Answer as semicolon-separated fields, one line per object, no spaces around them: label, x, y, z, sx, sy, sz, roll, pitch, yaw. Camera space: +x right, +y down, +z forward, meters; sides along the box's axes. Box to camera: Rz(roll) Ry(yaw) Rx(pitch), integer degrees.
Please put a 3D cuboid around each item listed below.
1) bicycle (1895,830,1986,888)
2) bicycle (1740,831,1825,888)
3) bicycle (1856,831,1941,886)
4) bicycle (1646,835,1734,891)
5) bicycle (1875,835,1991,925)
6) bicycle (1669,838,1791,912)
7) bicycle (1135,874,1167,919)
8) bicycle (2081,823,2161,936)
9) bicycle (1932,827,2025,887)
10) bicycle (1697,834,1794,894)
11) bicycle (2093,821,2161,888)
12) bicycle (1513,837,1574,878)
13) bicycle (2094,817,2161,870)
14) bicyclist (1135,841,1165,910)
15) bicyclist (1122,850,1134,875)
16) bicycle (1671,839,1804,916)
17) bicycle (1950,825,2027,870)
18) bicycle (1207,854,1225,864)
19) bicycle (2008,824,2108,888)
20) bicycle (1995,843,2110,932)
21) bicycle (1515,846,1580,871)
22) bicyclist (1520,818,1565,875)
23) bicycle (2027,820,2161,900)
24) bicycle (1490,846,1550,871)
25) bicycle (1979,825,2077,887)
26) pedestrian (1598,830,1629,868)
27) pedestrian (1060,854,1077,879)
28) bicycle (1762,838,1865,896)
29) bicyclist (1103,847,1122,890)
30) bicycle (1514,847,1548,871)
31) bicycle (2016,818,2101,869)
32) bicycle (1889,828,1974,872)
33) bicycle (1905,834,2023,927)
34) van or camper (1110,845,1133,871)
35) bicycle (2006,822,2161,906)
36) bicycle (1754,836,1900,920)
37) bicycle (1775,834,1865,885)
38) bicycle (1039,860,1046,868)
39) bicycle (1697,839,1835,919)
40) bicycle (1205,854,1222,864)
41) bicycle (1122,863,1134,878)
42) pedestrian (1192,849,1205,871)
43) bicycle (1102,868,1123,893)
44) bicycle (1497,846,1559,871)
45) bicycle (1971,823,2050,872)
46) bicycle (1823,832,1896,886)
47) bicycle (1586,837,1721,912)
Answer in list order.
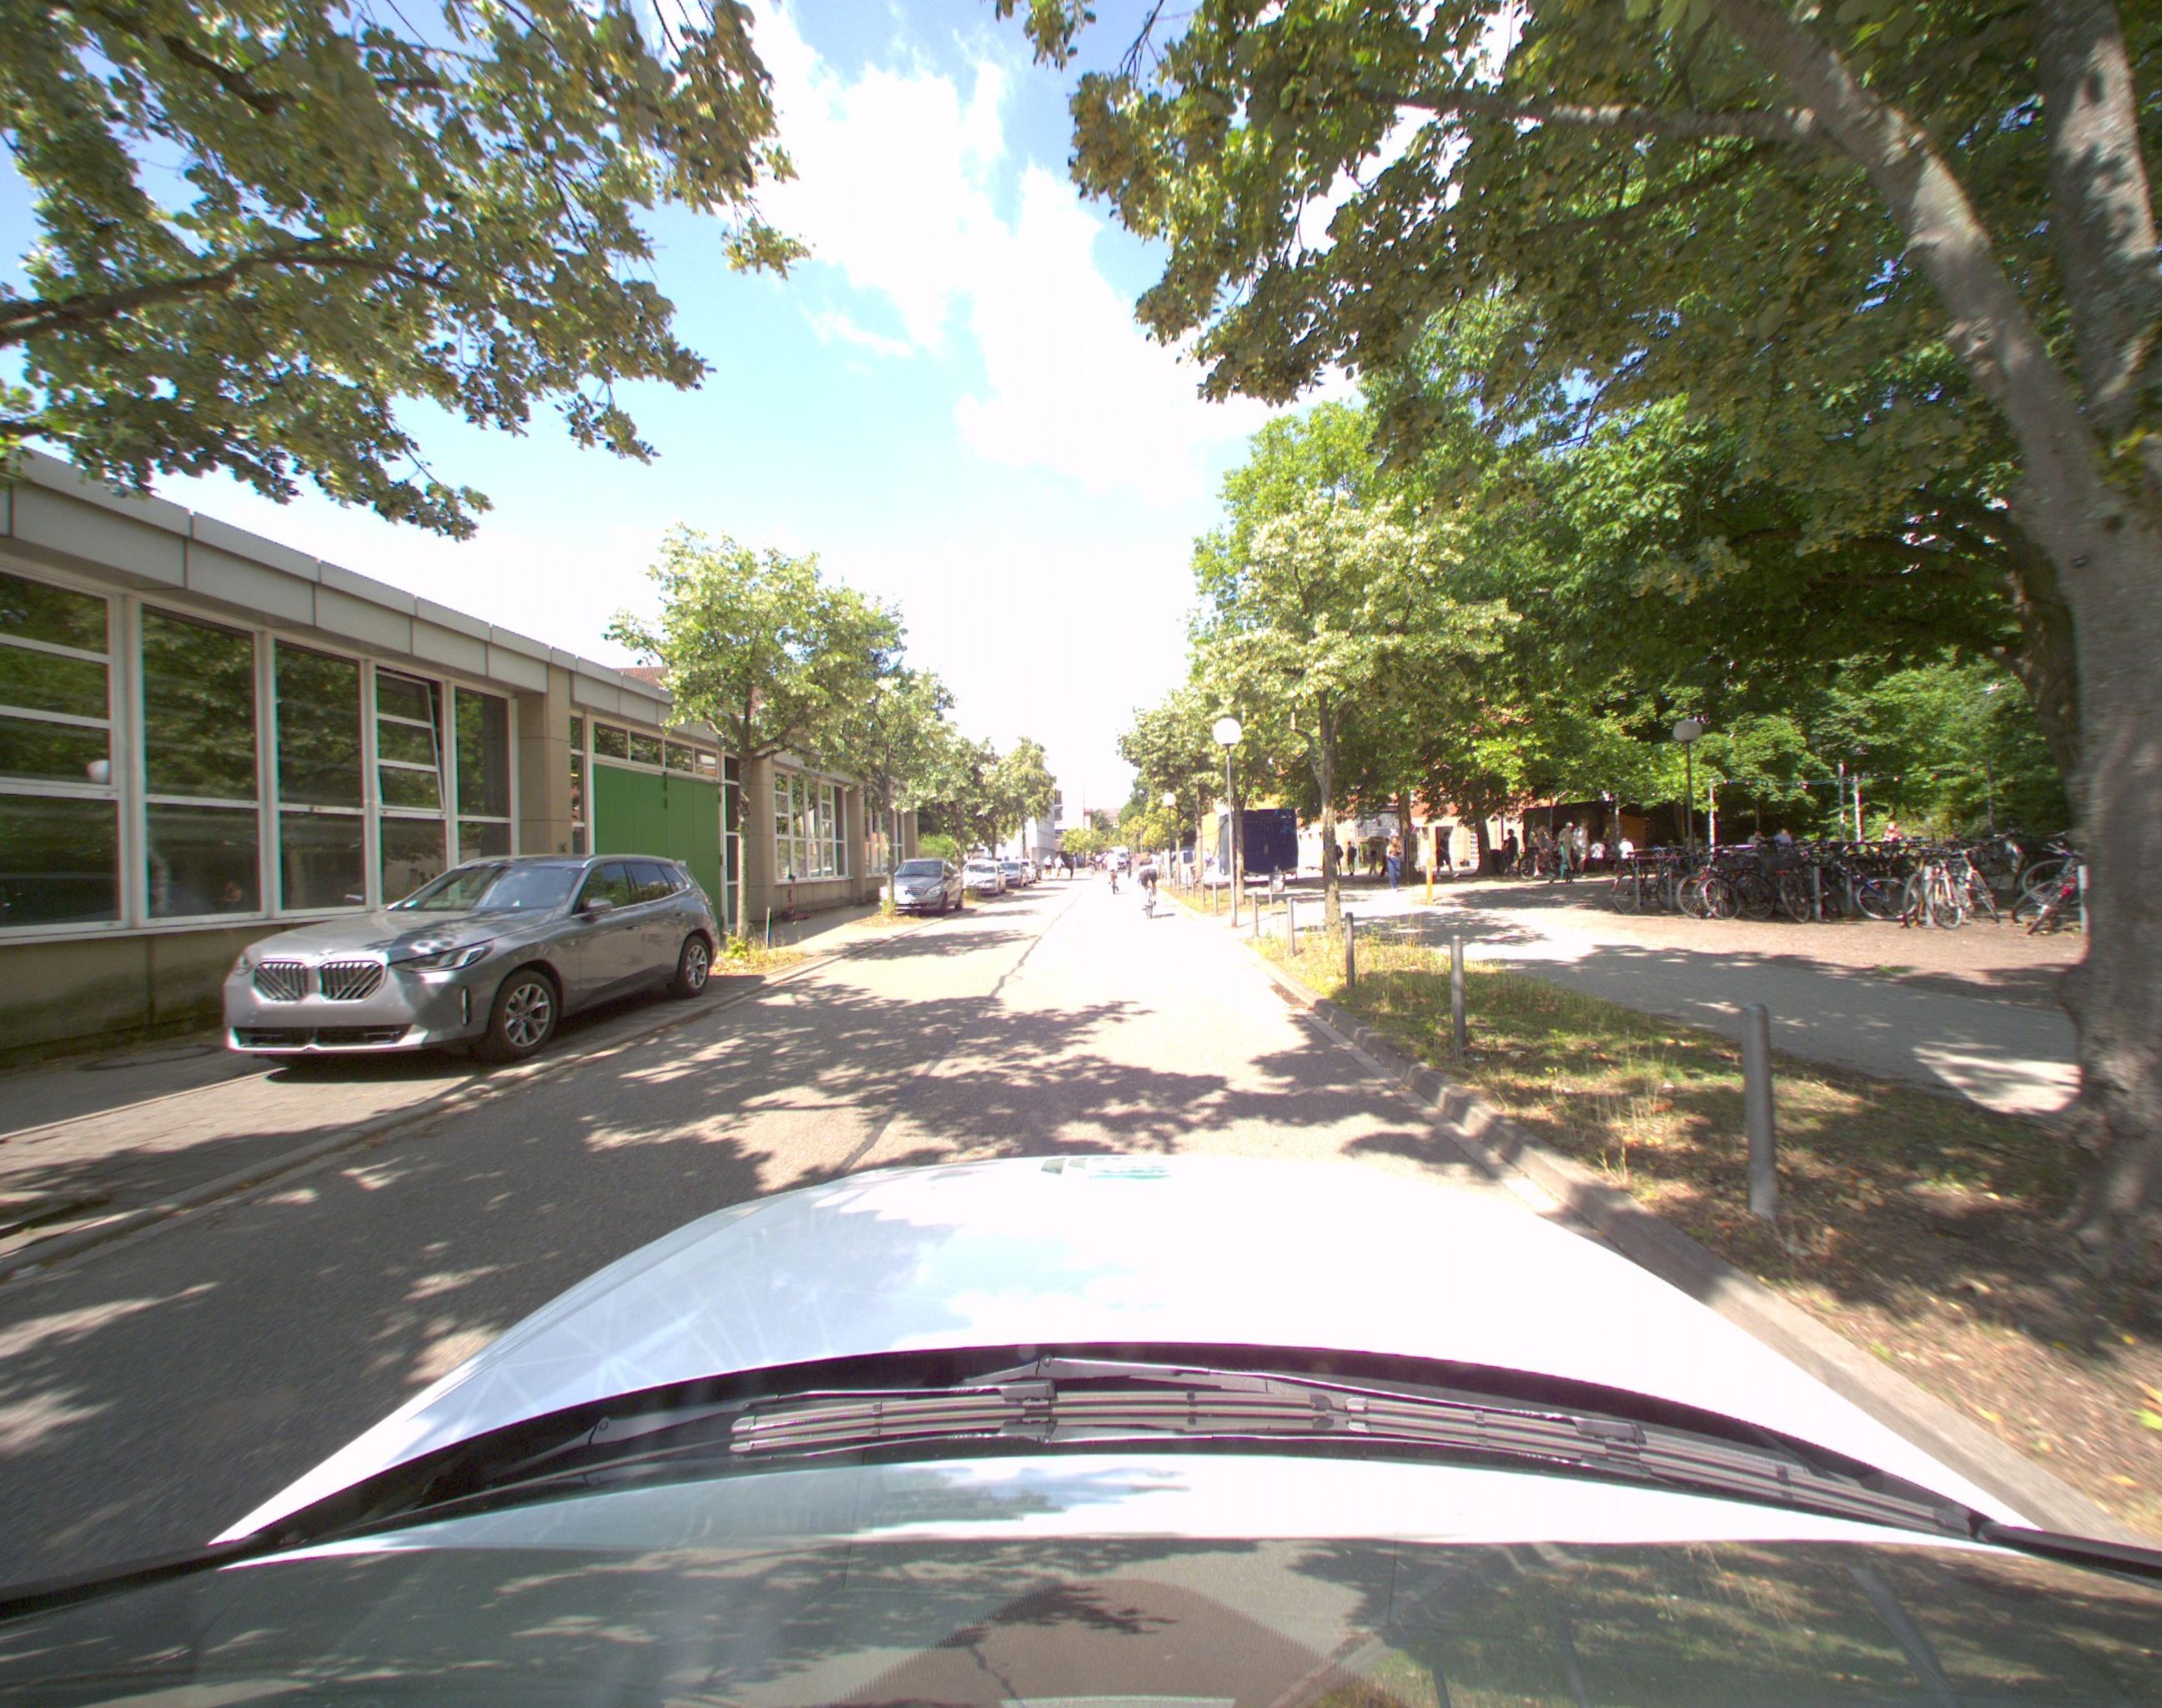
bicycle;16.157;0.084;15.306;1.904;0.979;0.418;-3;-1;-20
bicycle;15.644;0.114;18.155;1.903;1.143;0.476;-3;-1;-18
bicycle;16.091;0.084;16.016;1.906;0.979;0.475;-3;-1;-23
bicycle;13.347;0.196;17.851;1.809;1.118;0.608;-3;-1;-20
bicycle;11.168;0.322;10.664;1.915;1.059;0.323;-3;0;-22
bicycle;10.401;0.327;13.060;1.767;1.082;0.437;-3;0;-10
bicycle;1.695;1.008;19.935;0.703;0.993;1.912;-3;-1;4
bicycle;11.846;0.254;9.229;1.746;1.155;0.489;-3;0;-35
bicycle;16.467;0.044;14.932;1.904;0.979;0.418;-3;-1;-20
bicycle;13.659;0.199;16.737;1.904;1.118;0.608;-3;-1;-20
bicycle;17.184;-0.015;13.041;1.904;0.979;0.608;-3;-1;-20
bicycle;14.749;0.116;26.011;0.531;1.252;1.727;-4;0;-18
bicycle;22.252;-0.230;17.199;1.784;1.039;0.475;-3;-1;-20
bicyclist;1.688;0.517;20.027;0.714;1.662;1.096;0;-1;4
bicyclist;3.254;0.581;56.670;0.805;1.756;0.693;-1;-1;3
bicycle;10.192;0.348;12.640;1.944;1.082;0.403;-3;0;-10
bicycle;21.680;-0.154;19.455;1.958;0.979;0.436;-3;-1;-18
bicycle;15.260;0.585;92.106;1.802;0.985;0.560;-4;0;1
bicycle;16.667;0.021;13.886;1.905;0.979;0.475;-3;-1;-22
bicycle;11.414;0.367;9.556;1.743;0.909;0.490;-3;0;-28
bicycle;20.977;0.223;36.678;2.379;1.072;0.786;-1;-1;14
bicyclist;14.731;-0.227;26.014;0.531;1.729;1.072;-4;0;-18
bicycle;14.754;0.084;11.399;0.478;1.082;1.892;-3;-1;-18
bicycle;20.878;0.206;38.753;2.378;1.072;0.786;-2;-1;15
bicycle;16.578;0.030;14.252;1.905;0.979;0.475;-3;-1;-22
pedestrian;20.007;-0.184;30.583;0.568;1.346;0.728;-5;0;-2
pedestrian;-0.896;0.908;56.891;0.981;1.720;0.707;-2;-4;26
bicycle;14.011;0.244;15.580;1.904;0.979;0.608;-3;-1;-20
bicyclist;1.334;0.589;34.057;0.767;1.756;0.849;0;0;3
bicycle;22.306;0.248;40.394;0.571;1.140;2.027;-2;0;2
bicycle;22.040;-0.230;18.356;1.958;1.039;0.476;-3;-1;-18
bicycle;21.076;-0.107;20.177;1.958;0.979;0.609;-3;-1;-18
bicycle;11.266;0.316;10.371;1.915;1.059;0.323;-3;0;-22
van or camper;4.207;0.435;83.898;1.984;2.446;4.575;-3;-1;5
bicycle;14.082;0.130;11.089;0.478;1.082;1.892;-3;-1;-18
bicycle;10.583;0.331;11.559;1.944;1.082;0.403;-3;0;-10
bicycle;15.646;0.113;17.237;1.903;0.979;0.476;-3;-1;-18
bicycle;-4.715;1.230;99.032;0.520;0.985;1.635;-4;0;6
bicycle;10.269;0.360;12.217;1.944;1.082;0.403;-3;0;-10
bicycle;15.213;0.590;93.643;1.802;0.985;0.560;-4;0;1
bicycle;3.258;1.151;56.573;0.805;1.002;2.125;-1;-1;3
pedestrian;9.111;0.479;63.117;0.504;1.630;0.566;-9;2;-28
bicycle;1.334;1.095;34.013;0.805;1.002;2.125;-1;-1;3
bicycle;20.763;0.223;37.842;2.382;1.072;0.785;-2;-1;9
bicycle;21.701;-0.152;19.004;1.958;1.039;0.432;-3;-1;-18
bicycle;15.930;0.093;16.649;1.908;0.979;0.418;-3;-1;-27
bicycle;9.905;0.343;14.100;2.014;1.167;0.649;-3;0;-10
